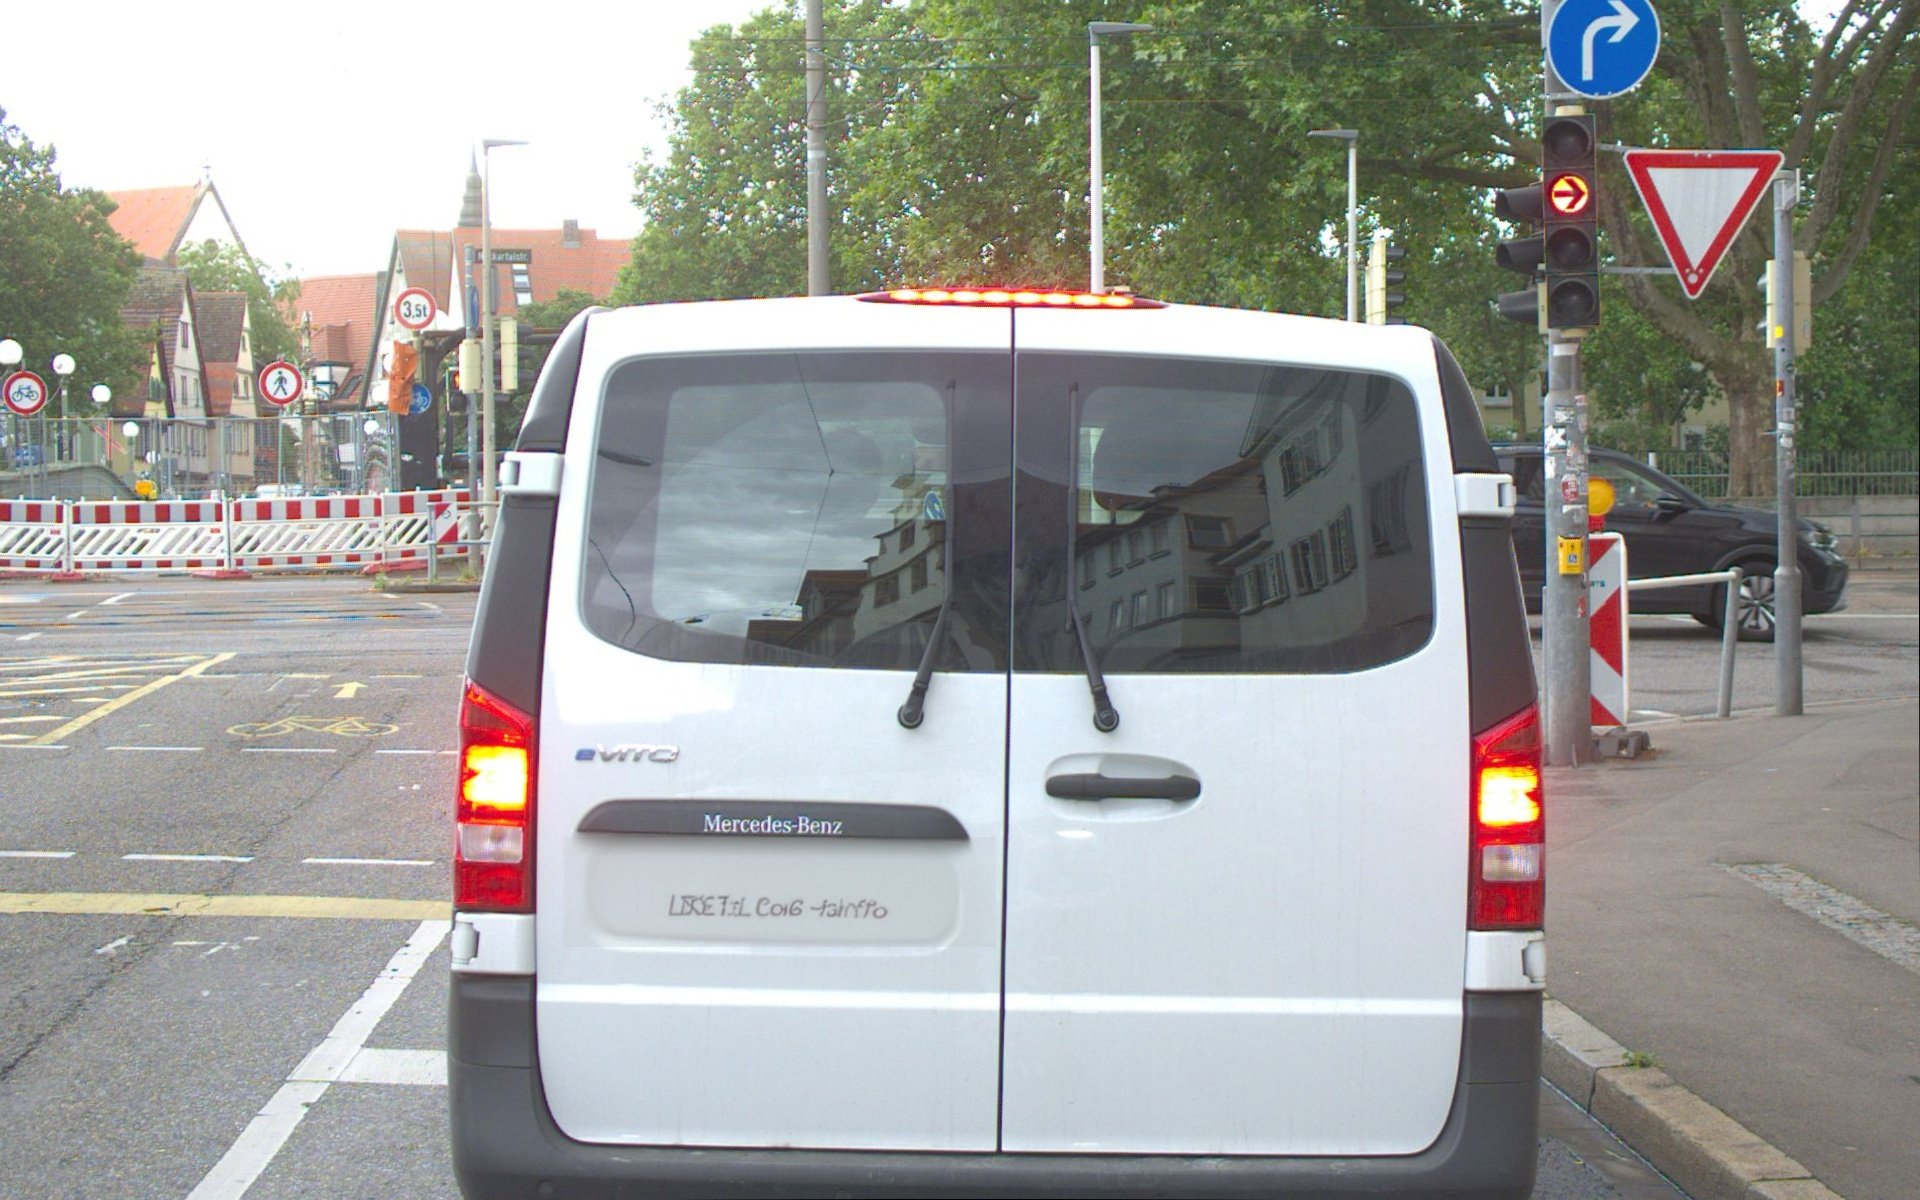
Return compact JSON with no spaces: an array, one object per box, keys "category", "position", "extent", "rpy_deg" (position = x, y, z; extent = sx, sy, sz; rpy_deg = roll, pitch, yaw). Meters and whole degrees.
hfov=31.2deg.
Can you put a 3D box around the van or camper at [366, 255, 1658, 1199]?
[{"category":"van or camper","position":[-0.060,0.346,7.428],"extent":[1.937,1.918,4.442],"rpy_deg":[1,3,-4]}]

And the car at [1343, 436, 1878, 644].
[{"category":"car","position":[5.249,-0.514,28.135],"extent":[4.070,1.568,1.828],"rpy_deg":[-1,3,3]}]
